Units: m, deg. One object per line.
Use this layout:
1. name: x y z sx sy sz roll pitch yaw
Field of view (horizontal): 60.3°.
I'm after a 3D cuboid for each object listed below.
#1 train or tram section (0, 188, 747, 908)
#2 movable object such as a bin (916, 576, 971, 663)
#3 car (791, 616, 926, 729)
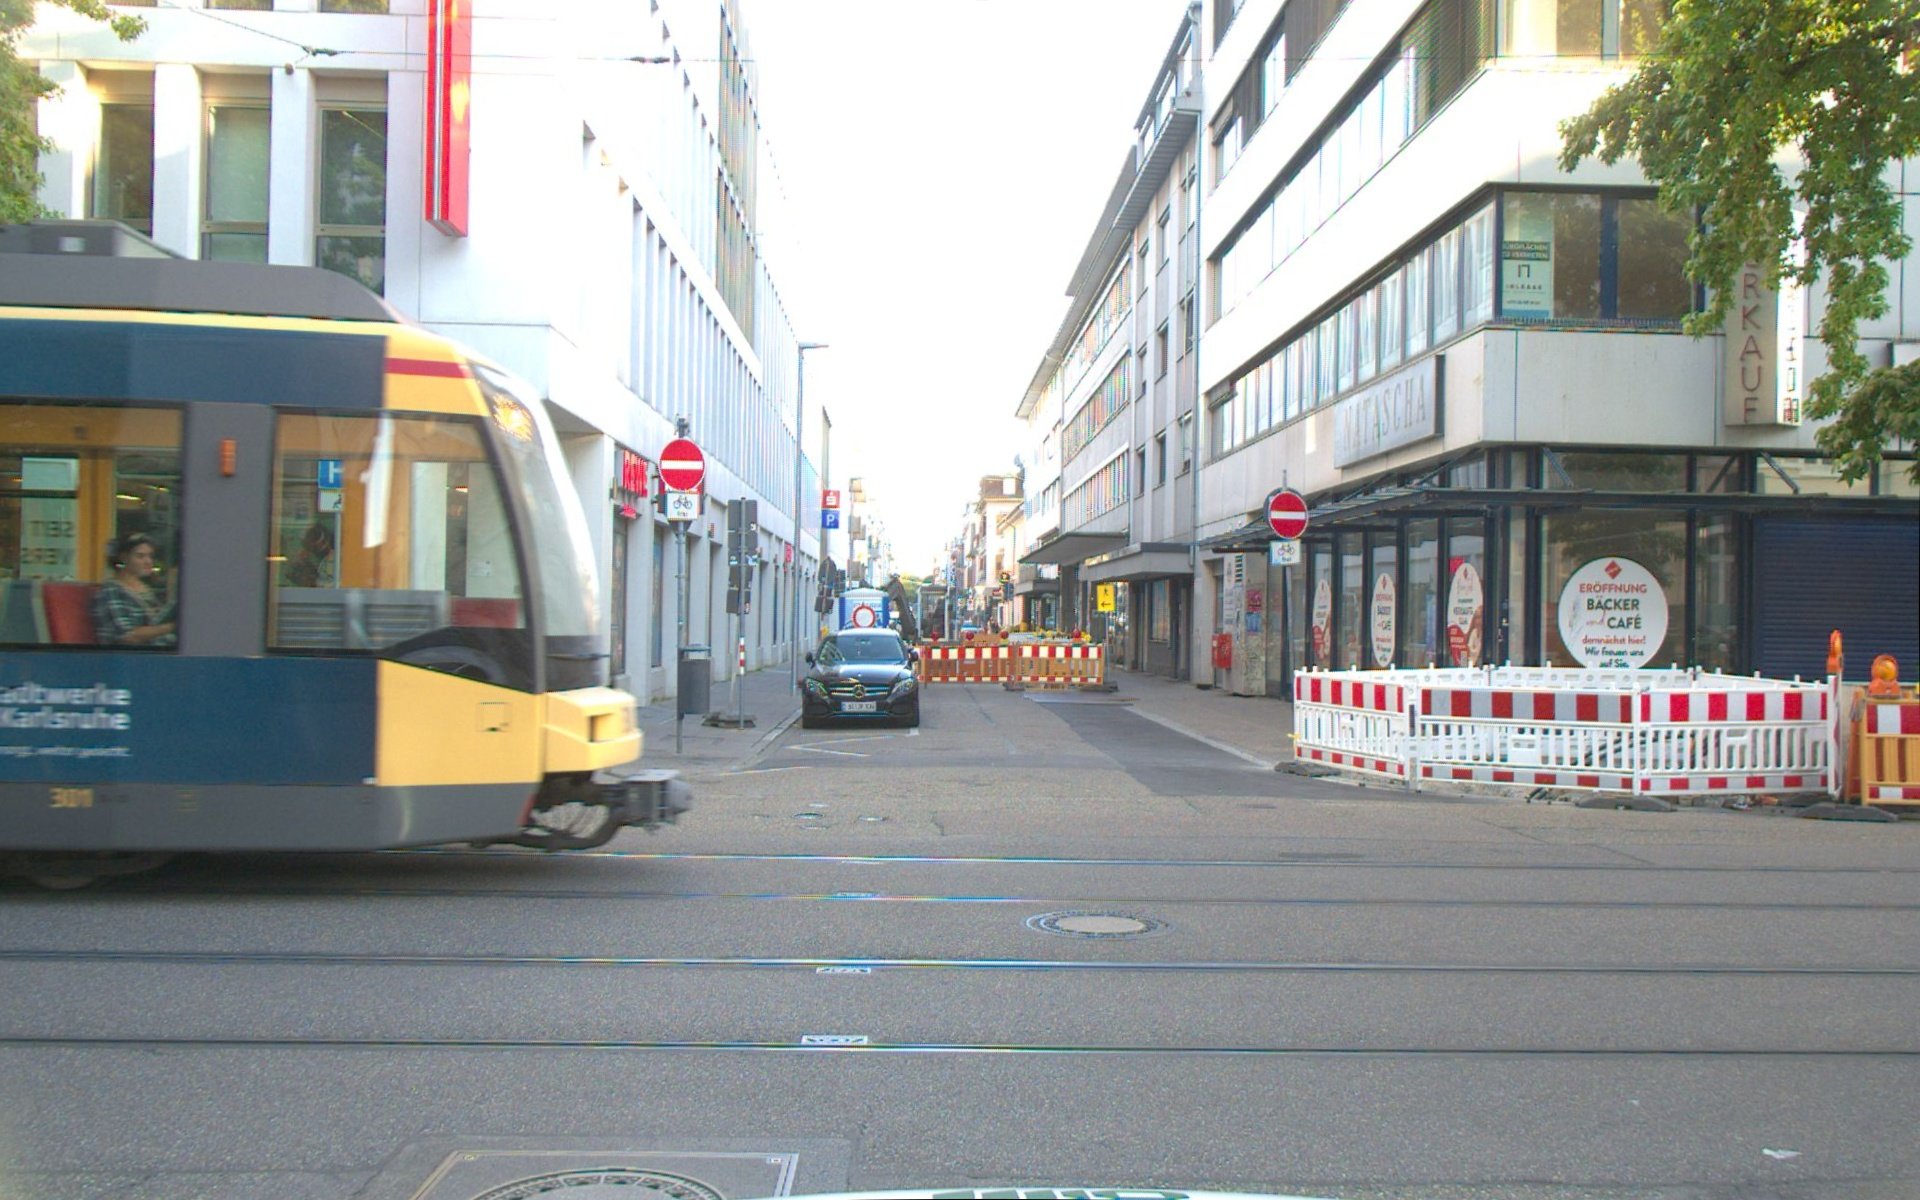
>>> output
1. train or tram section: -6.502 -0.258 9.682 10.128 3.585 3.025 0 -1 -2
2. movable object such as a bin: -0.492 0.590 49.708 1.406 2.537 1.759 1 -1 7
3. car: -1.525 1.098 26.271 1.858 1.641 4.151 0 -1 0
